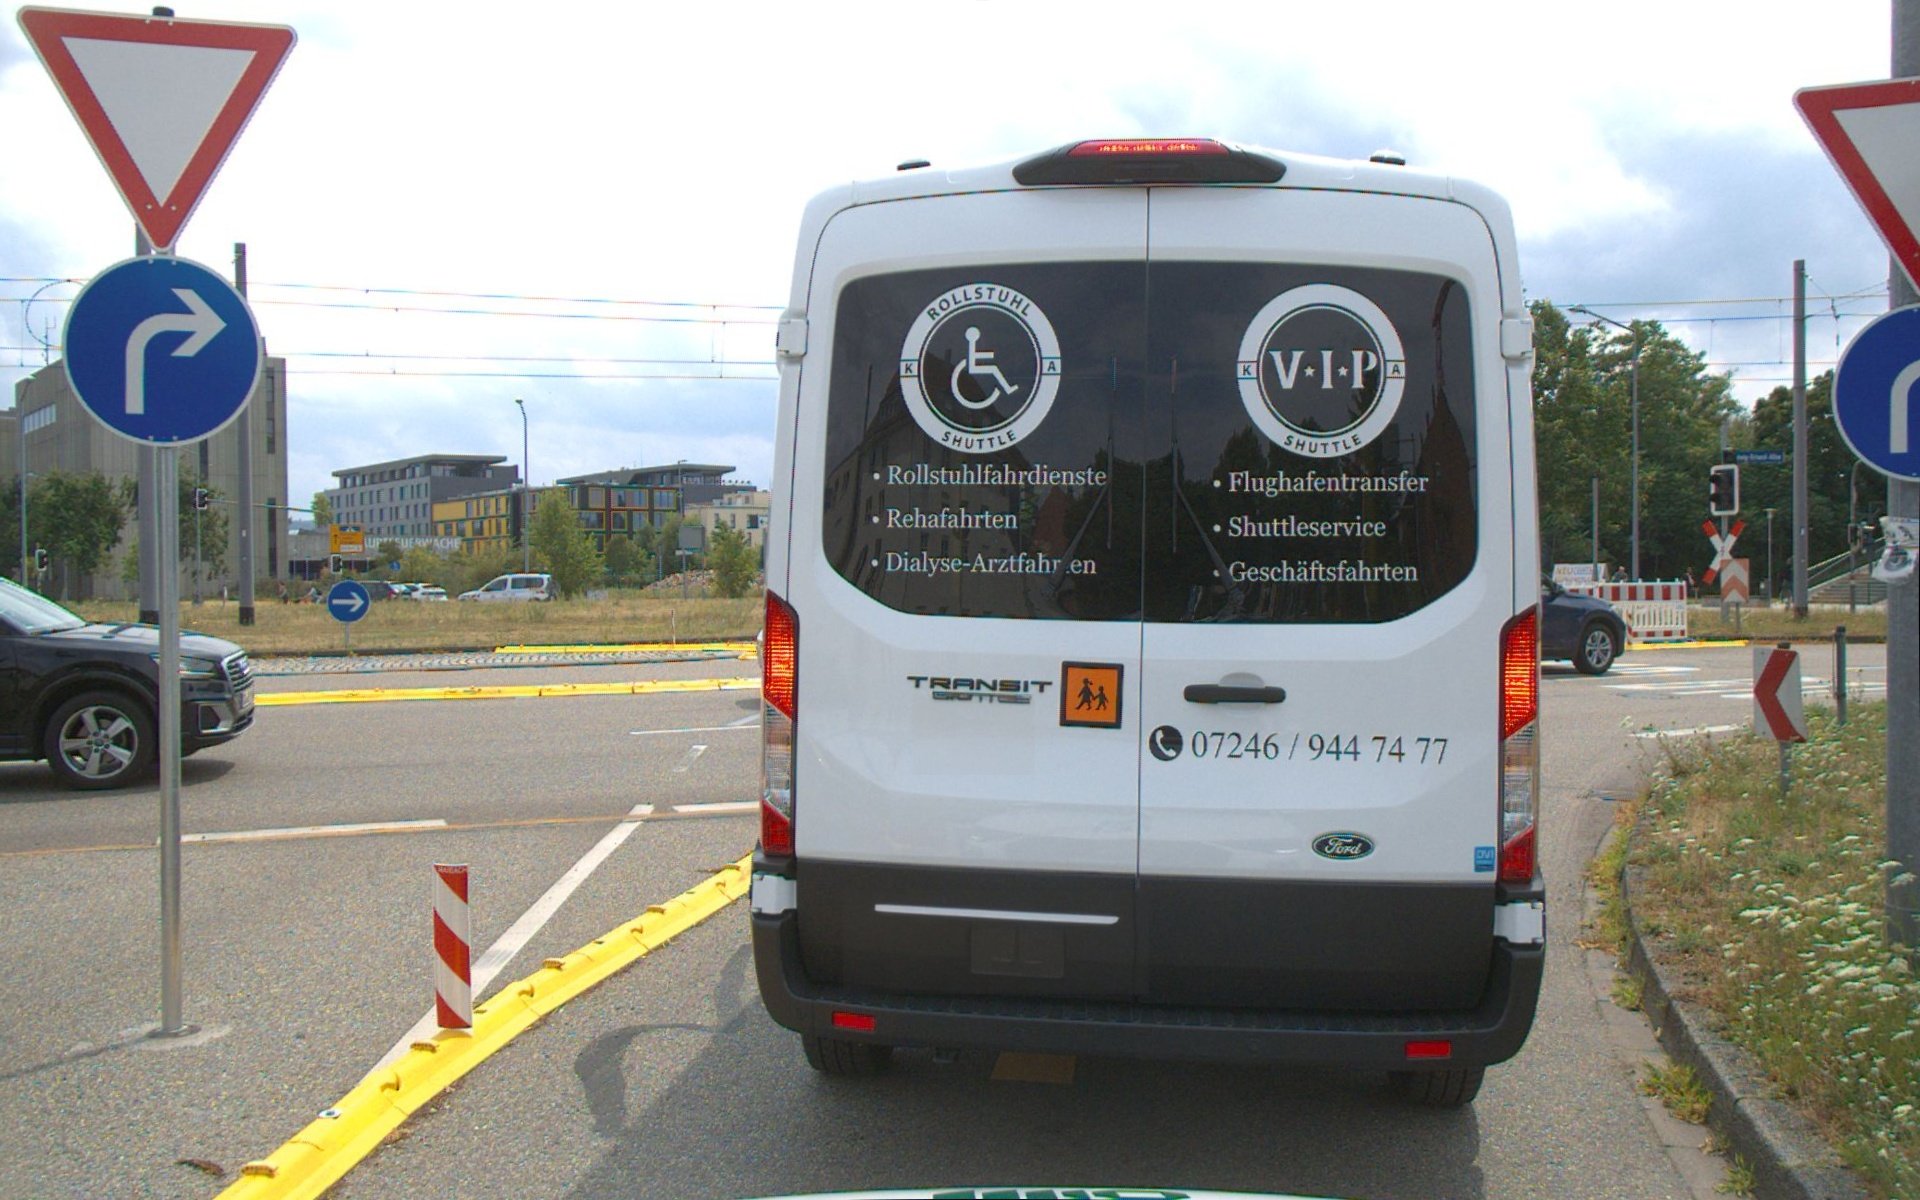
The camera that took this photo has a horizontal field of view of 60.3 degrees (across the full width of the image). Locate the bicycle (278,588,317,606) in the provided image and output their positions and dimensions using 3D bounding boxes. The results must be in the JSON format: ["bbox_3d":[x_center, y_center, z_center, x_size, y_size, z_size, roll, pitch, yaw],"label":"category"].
[{"bbox_3d":[-34.035,-0.167,84.991,1.803,0.892,0.527,-1,1,-22],"label":"bicycle"}]

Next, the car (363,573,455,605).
[{"bbox_3d":[-26.652,-0.523,79.994,3.904,1.489,1.833,0,-1,21],"label":"car"}]

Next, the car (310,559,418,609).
[{"bbox_3d":[-24.962,-0.642,69.257,3.906,2.049,2.000,0,-1,22],"label":"car"}]

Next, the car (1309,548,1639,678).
[{"bbox_3d":[6.805,0.116,21.800,4.311,1.560,1.715,-1,1,-30],"label":"car"}]

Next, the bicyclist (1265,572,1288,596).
[{"bbox_3d":[11.937,-0.590,62.348,0.645,0.899,0.605,0,-1,36],"label":"bicyclist"}]

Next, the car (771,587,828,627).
[{"bbox_3d":[-8.288,0.375,85.717,1.951,2.049,4.003,0,-1,9],"label":"car"}]

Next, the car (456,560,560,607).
[{"bbox_3d":[-20.583,-0.734,75.460,4.265,2.049,1.997,0,-1,-8],"label":"car"}]

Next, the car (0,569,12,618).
[{"bbox_3d":[-35.596,-0.138,57.354,1.902,1.694,4.335,0,3,39],"label":"car"}]

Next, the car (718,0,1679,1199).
[{"bbox_3d":[0.729,-0.008,6.452,2.081,2.744,5.635,0,1,5],"label":"car"}]

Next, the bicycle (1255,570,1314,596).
[{"bbox_3d":[12.189,-0.641,62.140,2.161,0.954,0.611,0,-1,37],"label":"bicycle"}]

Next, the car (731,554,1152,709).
[{"bbox_3d":[-0.169,0.263,17.796,4.200,1.488,1.813,-1,1,-29],"label":"car"}]

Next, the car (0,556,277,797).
[{"bbox_3d":[-7.004,0.496,11.340,4.065,1.545,1.734,-1,1,-16],"label":"car"}]
